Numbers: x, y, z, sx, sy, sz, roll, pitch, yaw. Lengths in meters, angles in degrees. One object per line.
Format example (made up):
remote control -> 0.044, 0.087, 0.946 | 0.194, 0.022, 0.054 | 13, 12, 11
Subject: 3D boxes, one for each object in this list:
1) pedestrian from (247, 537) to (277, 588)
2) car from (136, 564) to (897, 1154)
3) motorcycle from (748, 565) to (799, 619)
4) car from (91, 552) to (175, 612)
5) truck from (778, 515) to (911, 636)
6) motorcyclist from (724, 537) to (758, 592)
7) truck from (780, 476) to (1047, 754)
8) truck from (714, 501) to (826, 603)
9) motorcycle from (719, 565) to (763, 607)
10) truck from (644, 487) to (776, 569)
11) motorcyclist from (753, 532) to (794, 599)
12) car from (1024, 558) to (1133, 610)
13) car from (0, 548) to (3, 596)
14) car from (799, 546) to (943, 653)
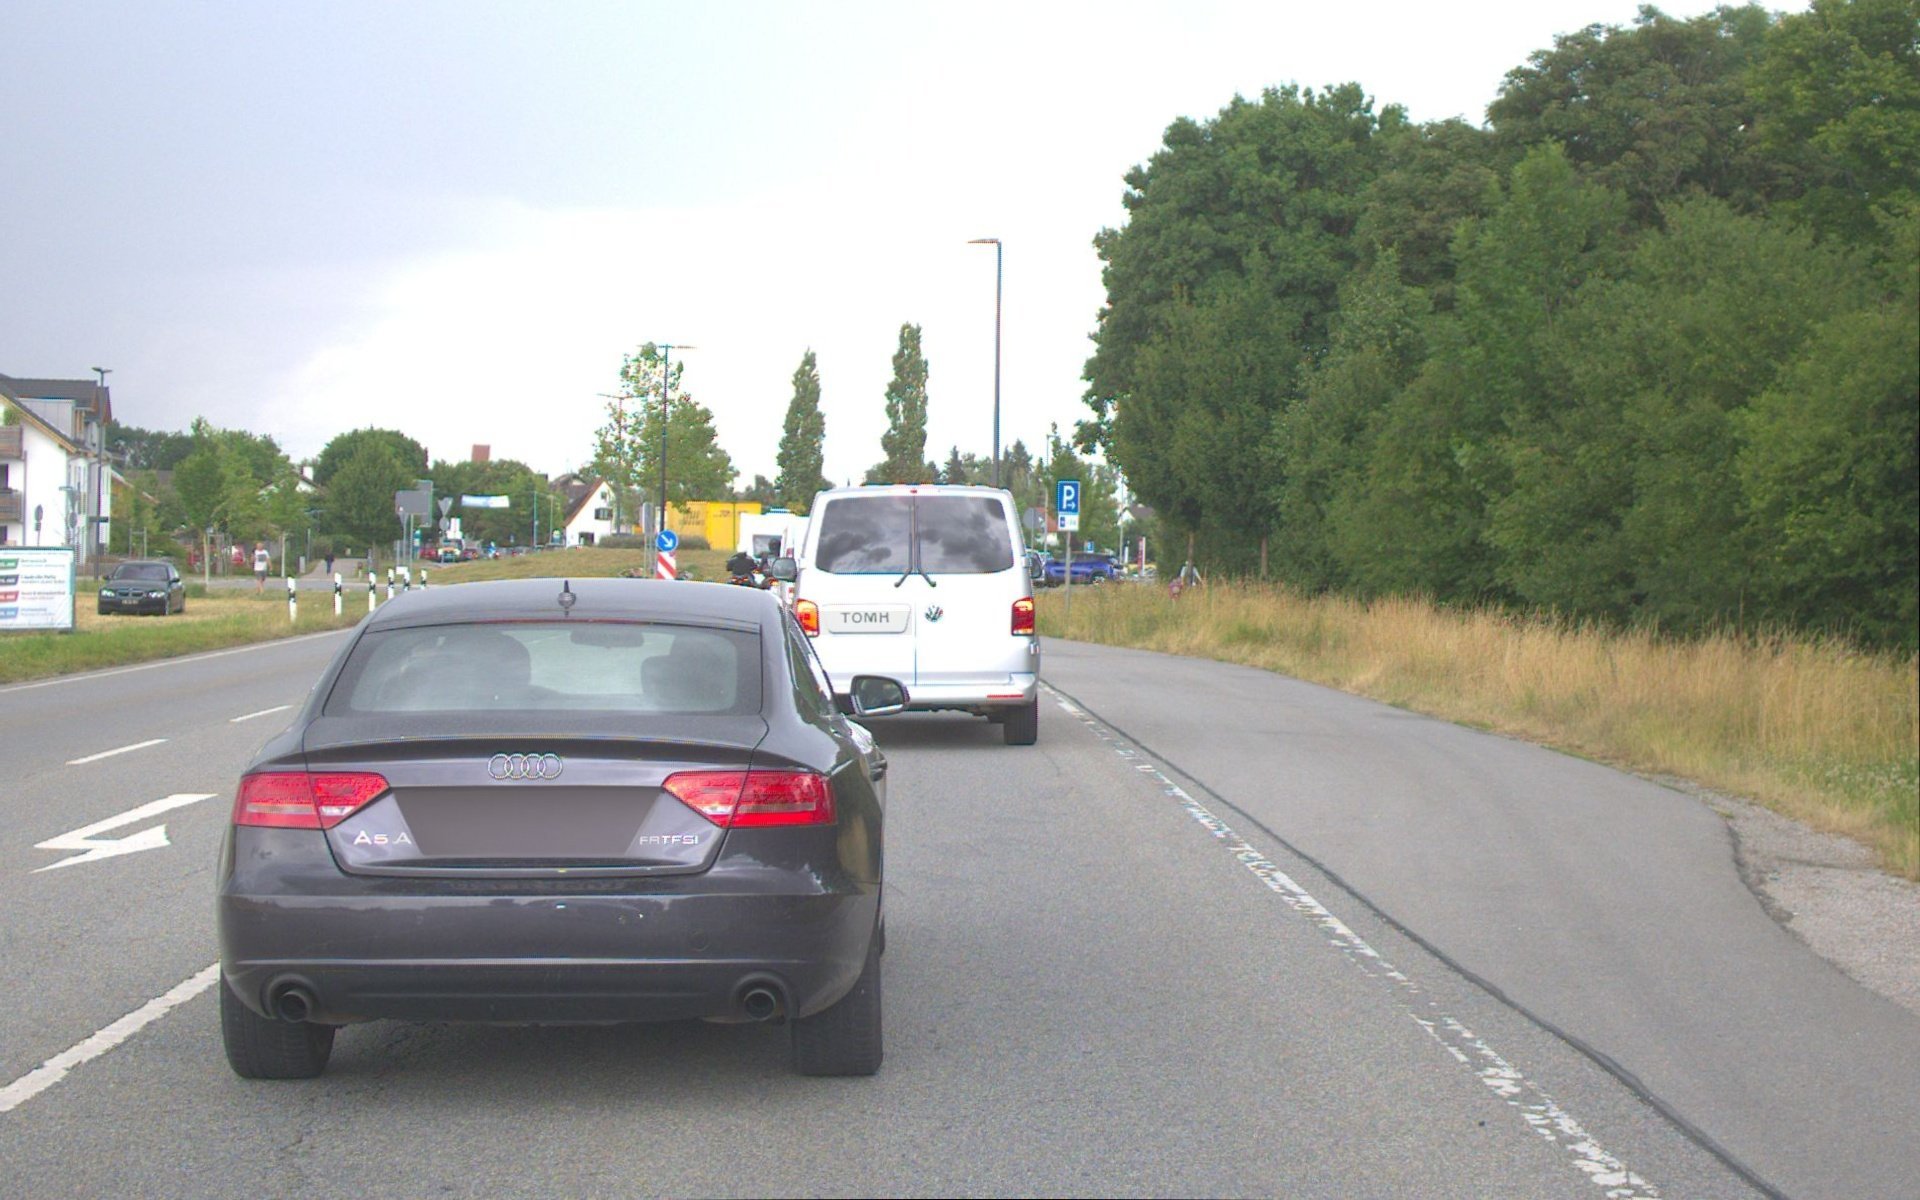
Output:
pedestrian -> -21.825, -1.165, 107.509 | 0.701, 1.580, 0.657 | 1, 1, 16
car -> -1.150, 0.622, 10.605 | 1.875, 1.449, 4.177 | 0, 1, -1
motorcycle -> -3.870, -0.179, 71.567 | 0.920, 1.090, 2.189 | 1, 1, 0
car -> -21.382, -0.476, 89.002 | 1.993, 1.437, 4.001 | 1, 1, -12
truck -> -1.982, -0.449, 60.473 | 2.193, 2.007, 5.085 | 1, 1, -1
motorcyclist -> -5.461, -0.885, 85.573 | 0.785, 1.352, 0.854 | 1, 1, -7
truck -> -0.370, 0.071, 27.185 | 1.904, 1.991, 4.629 | 1, 1, -1
truck -> -5.379, -1.346, 96.720 | 2.625, 2.728, 5.868 | 1, 1, -8
motorcycle -> -5.460, -0.361, 85.647 | 0.944, 1.016, 2.284 | 1, 1, -7
truck -> -11.600, -3.343, 158.428 | 3.575, 3.566, 9.960 | 1, 1, -19
motorcyclist -> -3.875, -0.716, 71.518 | 0.772, 1.379, 0.820 | 1, 1, 0
car -> 4.848, -0.663, 140.054 | 3.991, 2.007, 1.998 | 2, 1, 19
car -> -30.250, -0.832, 101.250 | 1.995, 1.441, 4.208 | 1, 1, 17
car -> -1.301, -0.029, 49.914 | 1.993, 1.480, 4.000 | 1, 1, -2
